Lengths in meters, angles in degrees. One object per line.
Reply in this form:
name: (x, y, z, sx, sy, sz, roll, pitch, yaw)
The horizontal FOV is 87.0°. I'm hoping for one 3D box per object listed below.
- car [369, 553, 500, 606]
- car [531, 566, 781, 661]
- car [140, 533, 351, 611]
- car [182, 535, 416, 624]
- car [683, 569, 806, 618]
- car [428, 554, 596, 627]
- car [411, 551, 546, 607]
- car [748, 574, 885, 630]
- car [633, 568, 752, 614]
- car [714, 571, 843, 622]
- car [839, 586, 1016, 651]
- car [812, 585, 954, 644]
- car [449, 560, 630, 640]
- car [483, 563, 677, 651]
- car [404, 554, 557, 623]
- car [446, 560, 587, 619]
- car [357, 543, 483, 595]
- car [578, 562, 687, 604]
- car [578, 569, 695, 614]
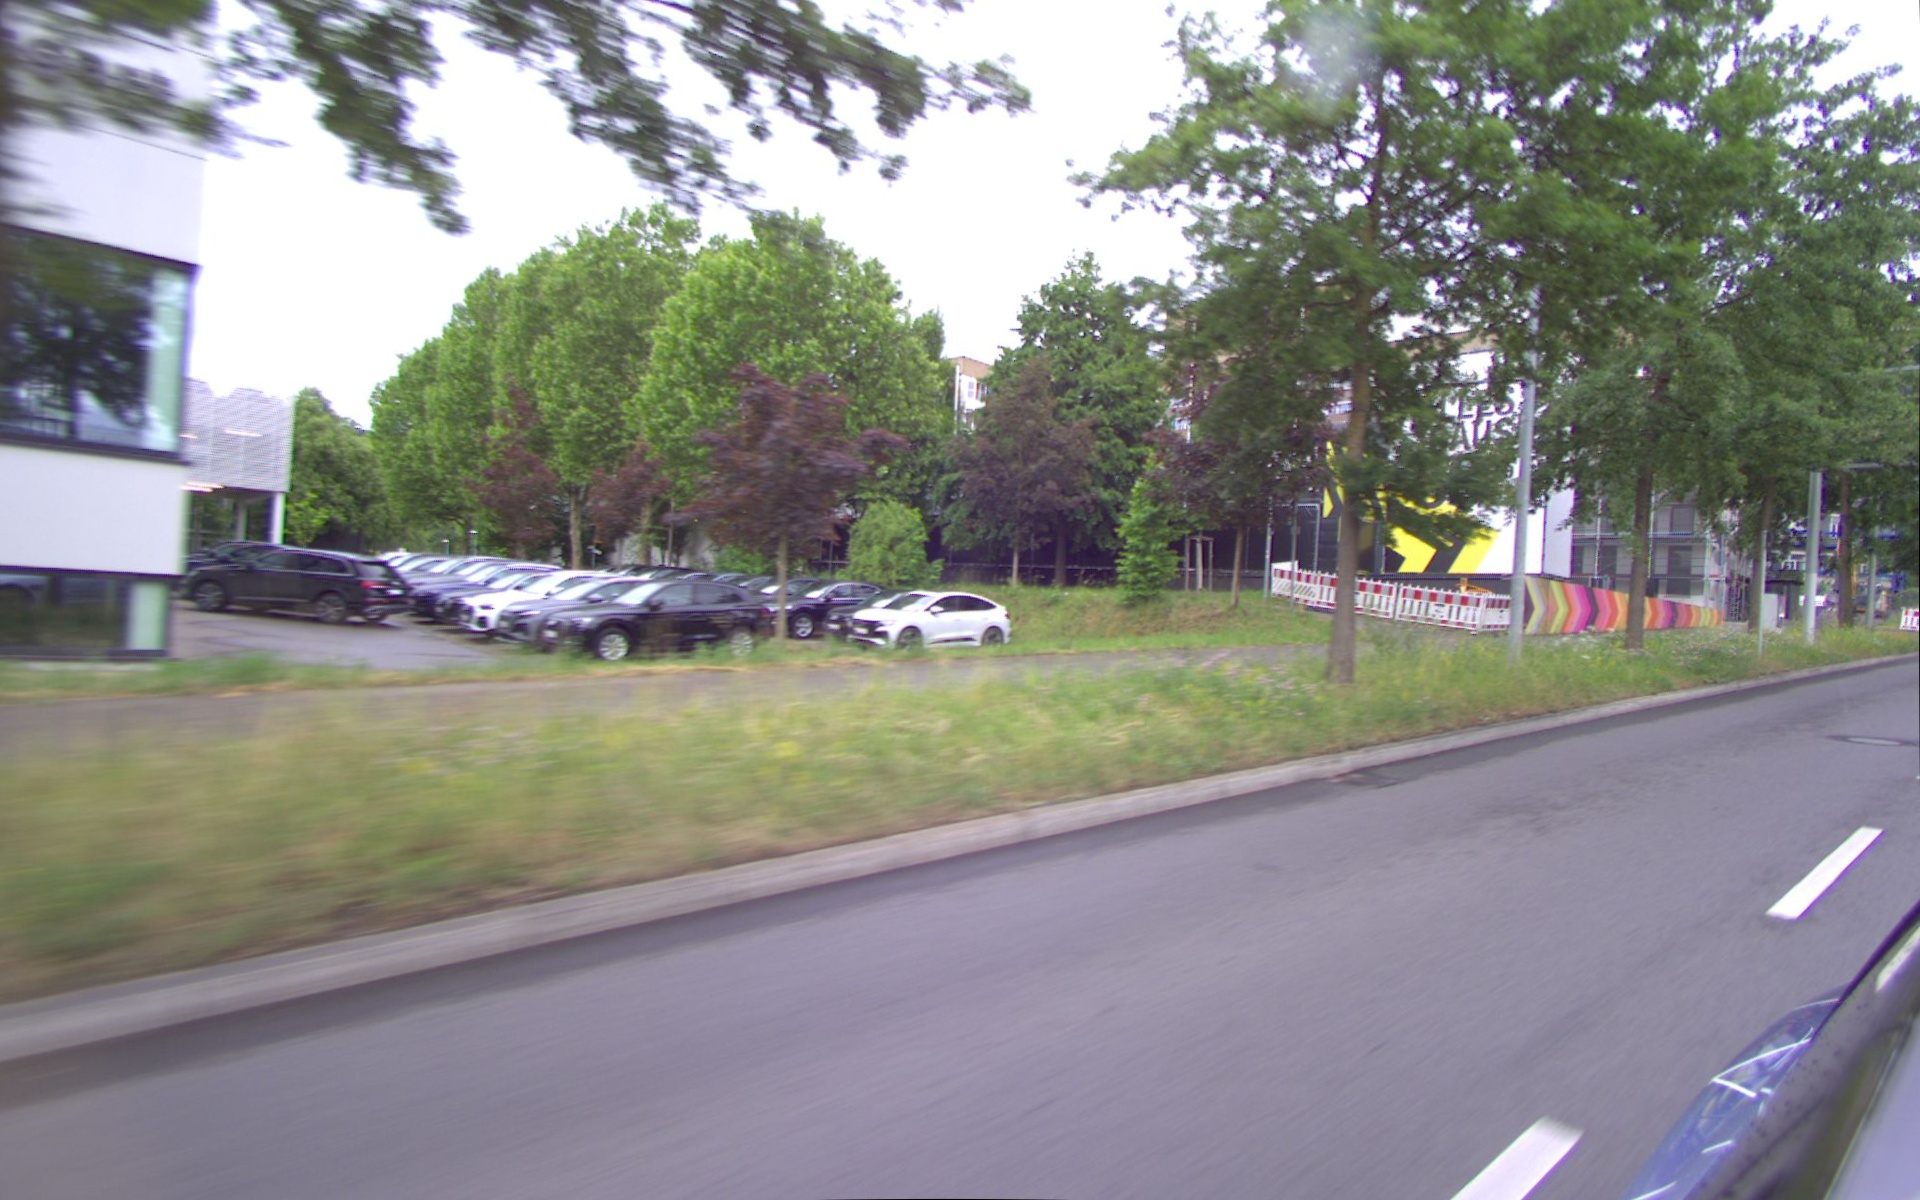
car: (-17.492, -0.661, 33.764, 3.579, 1.697, 1.700, -1, 0, -42)
car: (-6.119, 0.200, 20.686, 4.510, 1.696, 1.906, -1, 3, -42)
car: (-19.662, -0.752, 27.999, 4.442, 1.697, 1.704, 5, 0, -3)
car: (-16.097, -0.478, 24.813, 4.442, 1.697, 1.704, 5, 0, -3)
car: (-7.022, -0.223, 33.130, 3.579, 1.503, 1.700, -1, 0, -42)
car: (-11.330, -0.225, 25.695, 3.579, 1.697, 1.699, -1, -1, -42)
car: (-15.396, -0.638, 32.427, 3.579, 1.697, 1.700, -1, 0, -42)
car: (-4.096, 0.040, 29.187, 3.579, 1.503, 1.700, -1, 0, -42)
car: (-9.093, -0.308, 34.514, 3.579, 1.503, 1.700, -1, 0, -42)
car: (-5.580, -0.111, 31.312, 3.579, 1.503, 1.700, -1, 0, -42)
car: (-0.746, 0.410, 25.370, 4.384, 1.503, 1.700, -1, 0, -42)
car: (-2.065, 0.344, 27.607, 3.579, 1.503, 1.700, -1, 0, -42)
car: (-9.880, -0.036, 23.885, 3.579, 1.696, 1.701, -1, 4, -42)
car: (-8.253, 0.106, 22.103, 3.579, 1.696, 1.701, -1, 4, -42)
car: (-13.101, -0.330, 27.713, 3.461, 1.696, 1.701, -1, 4, -42)
car: (-13.349, -0.308, 30.561, 3.579, 1.697, 1.700, -1, 0, -42)
car: (-18.681, -1.051, 35.077, 3.579, 1.697, 1.700, -1, 0, -42)
car: (-12.410, -0.626, 38.413, 3.579, 1.503, 1.700, -1, 0, -42)
car: (-11.399, -0.306, 35.752, 3.579, 1.503, 1.700, -1, 0, -42)
